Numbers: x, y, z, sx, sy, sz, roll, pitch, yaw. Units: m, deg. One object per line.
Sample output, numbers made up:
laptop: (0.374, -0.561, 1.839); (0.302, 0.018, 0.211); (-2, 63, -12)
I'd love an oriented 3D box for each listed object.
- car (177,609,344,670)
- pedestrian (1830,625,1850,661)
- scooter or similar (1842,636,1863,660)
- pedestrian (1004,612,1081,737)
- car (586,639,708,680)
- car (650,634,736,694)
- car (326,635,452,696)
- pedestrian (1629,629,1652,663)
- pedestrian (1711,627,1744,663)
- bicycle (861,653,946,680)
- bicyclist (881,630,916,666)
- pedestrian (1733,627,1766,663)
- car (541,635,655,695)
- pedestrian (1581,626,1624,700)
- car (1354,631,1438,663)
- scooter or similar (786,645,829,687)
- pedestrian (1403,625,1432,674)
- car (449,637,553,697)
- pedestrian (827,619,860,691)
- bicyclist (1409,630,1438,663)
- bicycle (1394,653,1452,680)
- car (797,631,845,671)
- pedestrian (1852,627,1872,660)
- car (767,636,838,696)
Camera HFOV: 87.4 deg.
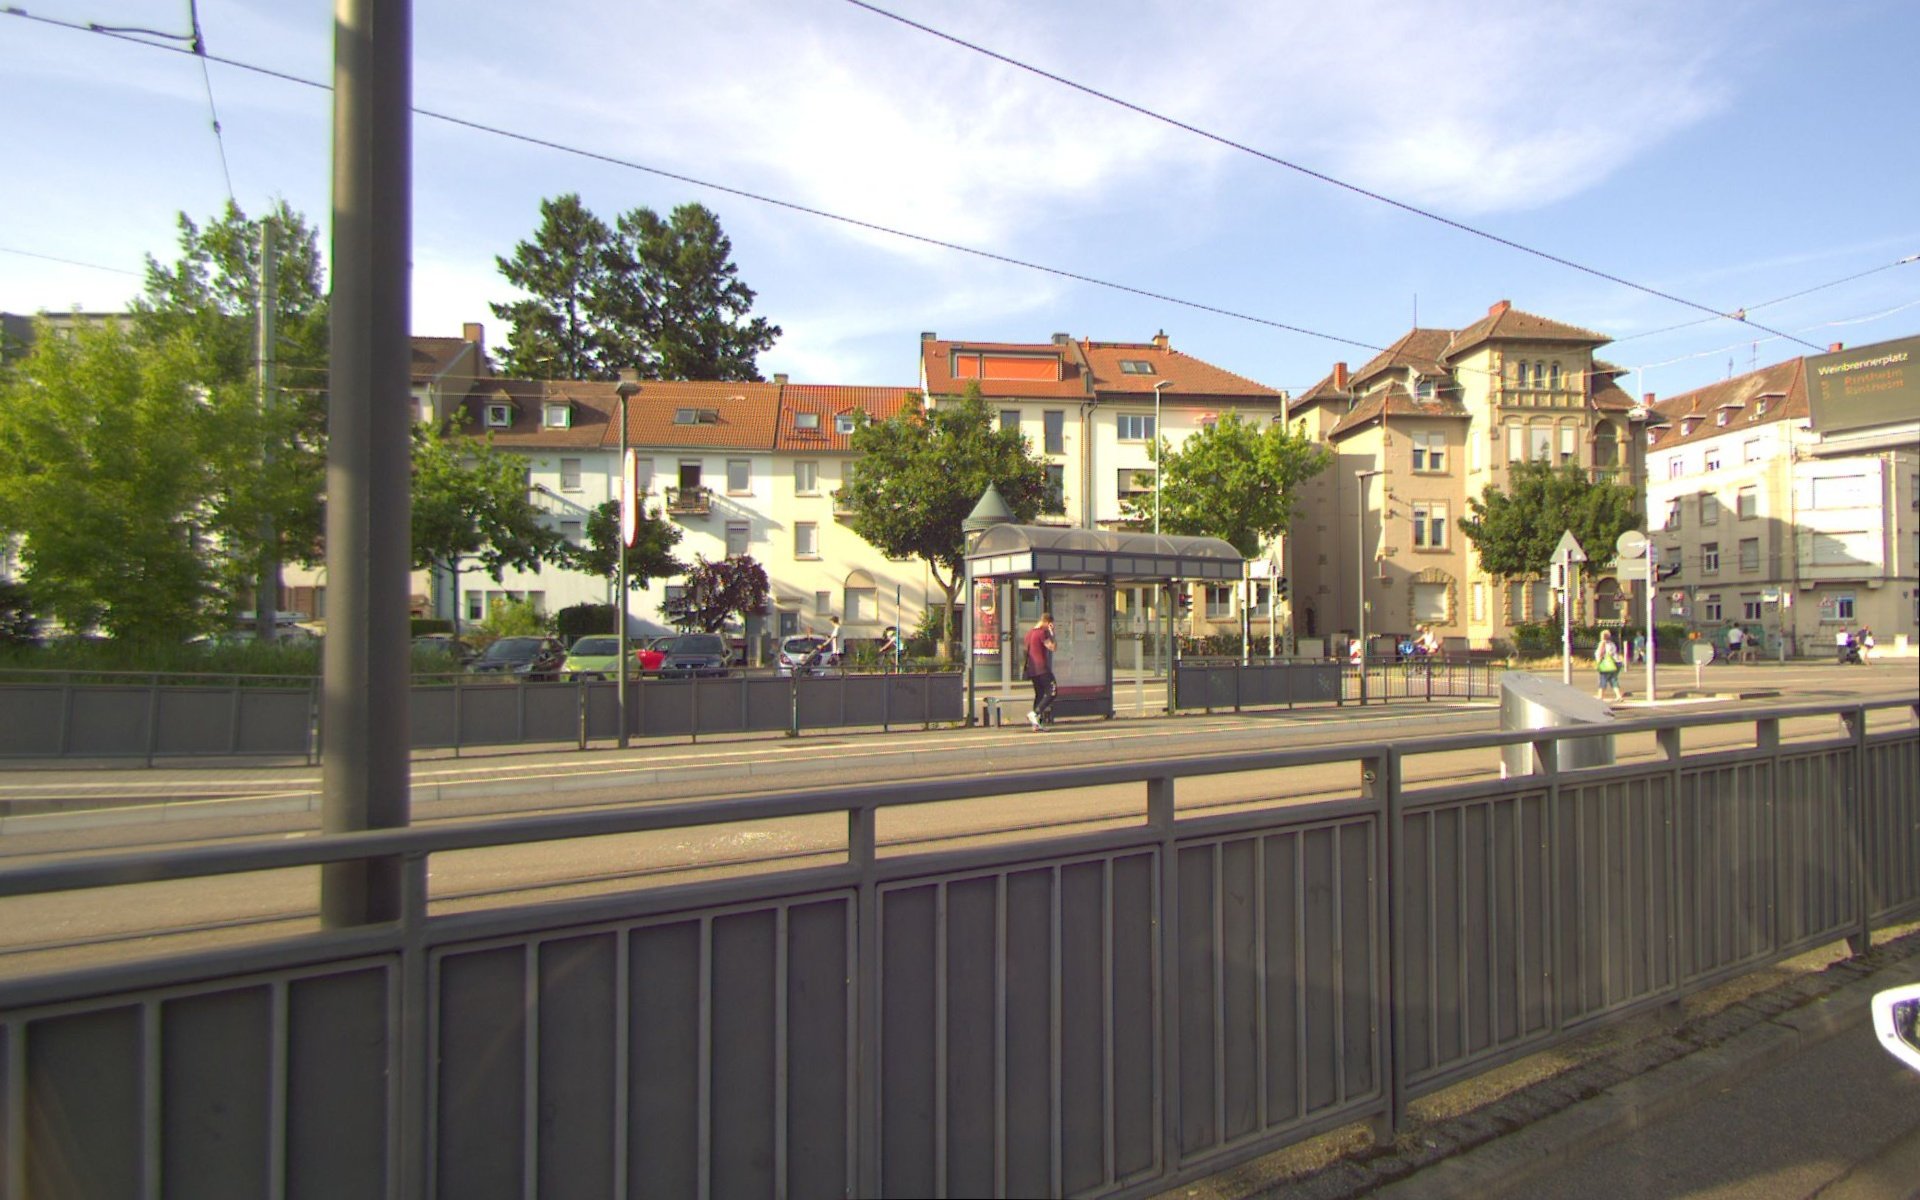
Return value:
car: (-18.652, 1.052, 27.037); (1.813, 1.505, 3.999); (0, -2, -3)
pedestrian: (41.201, 2.012, 47.008); (0.601, 1.647, 0.506); (1, -2, -29)
scooter or similar: (41.966, 2.268, 47.238); (0.675, 1.093, 0.541); (2, 0, -30)
pedestrian: (1.158, 1.043, 14.154); (0.867, 1.706, 0.551); (1, -5, -30)
car: (-11.220, 2.127, 36.243); (3.927, 1.416, 1.836); (0, -2, -9)
car: (-7.160, 1.686, 27.282); (1.815, 1.505, 3.995); (0, -2, -9)
car: (-14.398, 1.605, 25.589); (1.968, 1.416, 3.985); (0, -2, -18)
pedestrian: (30.777, 2.074, 45.440); (0.702, 1.561, 0.626); (1, -2, -30)
pedestrian: (34.746, 2.034, 45.480); (0.768, 1.572, 0.831); (0, -2, -8)
bicycle: (-2.017, 2.362, 35.993); (2.946, 0.926, 0.785); (0, -2, -13)
bicyclist: (-2.206, 1.718, 35.925); (1.154, 1.278, 0.764); (0, -2, -14)
pedestrian: (35.112, 1.984, 44.667); (0.768, 1.572, 0.831); (0, -2, -8)
car: (-9.733, 1.713, 27.311); (1.813, 1.505, 3.999); (0, -2, -3)
pedestrian: (14.372, 1.407, 22.476); (0.627, 1.620, 0.608); (1, -2, -36)
car: (20.376, 2.176, 47.123); (1.732, 1.327, 4.111); (2, 0, -7)
scooter or similar: (-3.765, 1.613, 24.785); (1.006, 1.001, 0.556); (0, -2, -15)
pedestrian: (15.750, 1.694, 34.594); (0.778, 1.667, 0.757); (-1, -2, 16)
car: (-11.877, 1.680, 26.249); (1.968, 1.416, 3.985); (0, -2, -18)
pedestrian: (-2.912, 1.363, 25.022); (0.750, 1.769, 0.547); (0, -2, -15)
bicyclist: (14.926, 1.499, 32.371); (0.667, 1.058, 0.514); (0, -2, -8)
bicycle: (14.896, 2.139, 32.348); (1.655, 0.845, 0.527); (0, -2, -8)
car: (-6.052, 2.202, 44.202); (1.962, 1.684, 3.997); (0, -2, -6)
pedestrian: (41.504, 2.015, 46.235); (0.540, 1.520, 0.437); (0, -2, -15)
car: (-4.342, 1.769, 27.820); (1.815, 1.505, 3.995); (0, -2, -9)
